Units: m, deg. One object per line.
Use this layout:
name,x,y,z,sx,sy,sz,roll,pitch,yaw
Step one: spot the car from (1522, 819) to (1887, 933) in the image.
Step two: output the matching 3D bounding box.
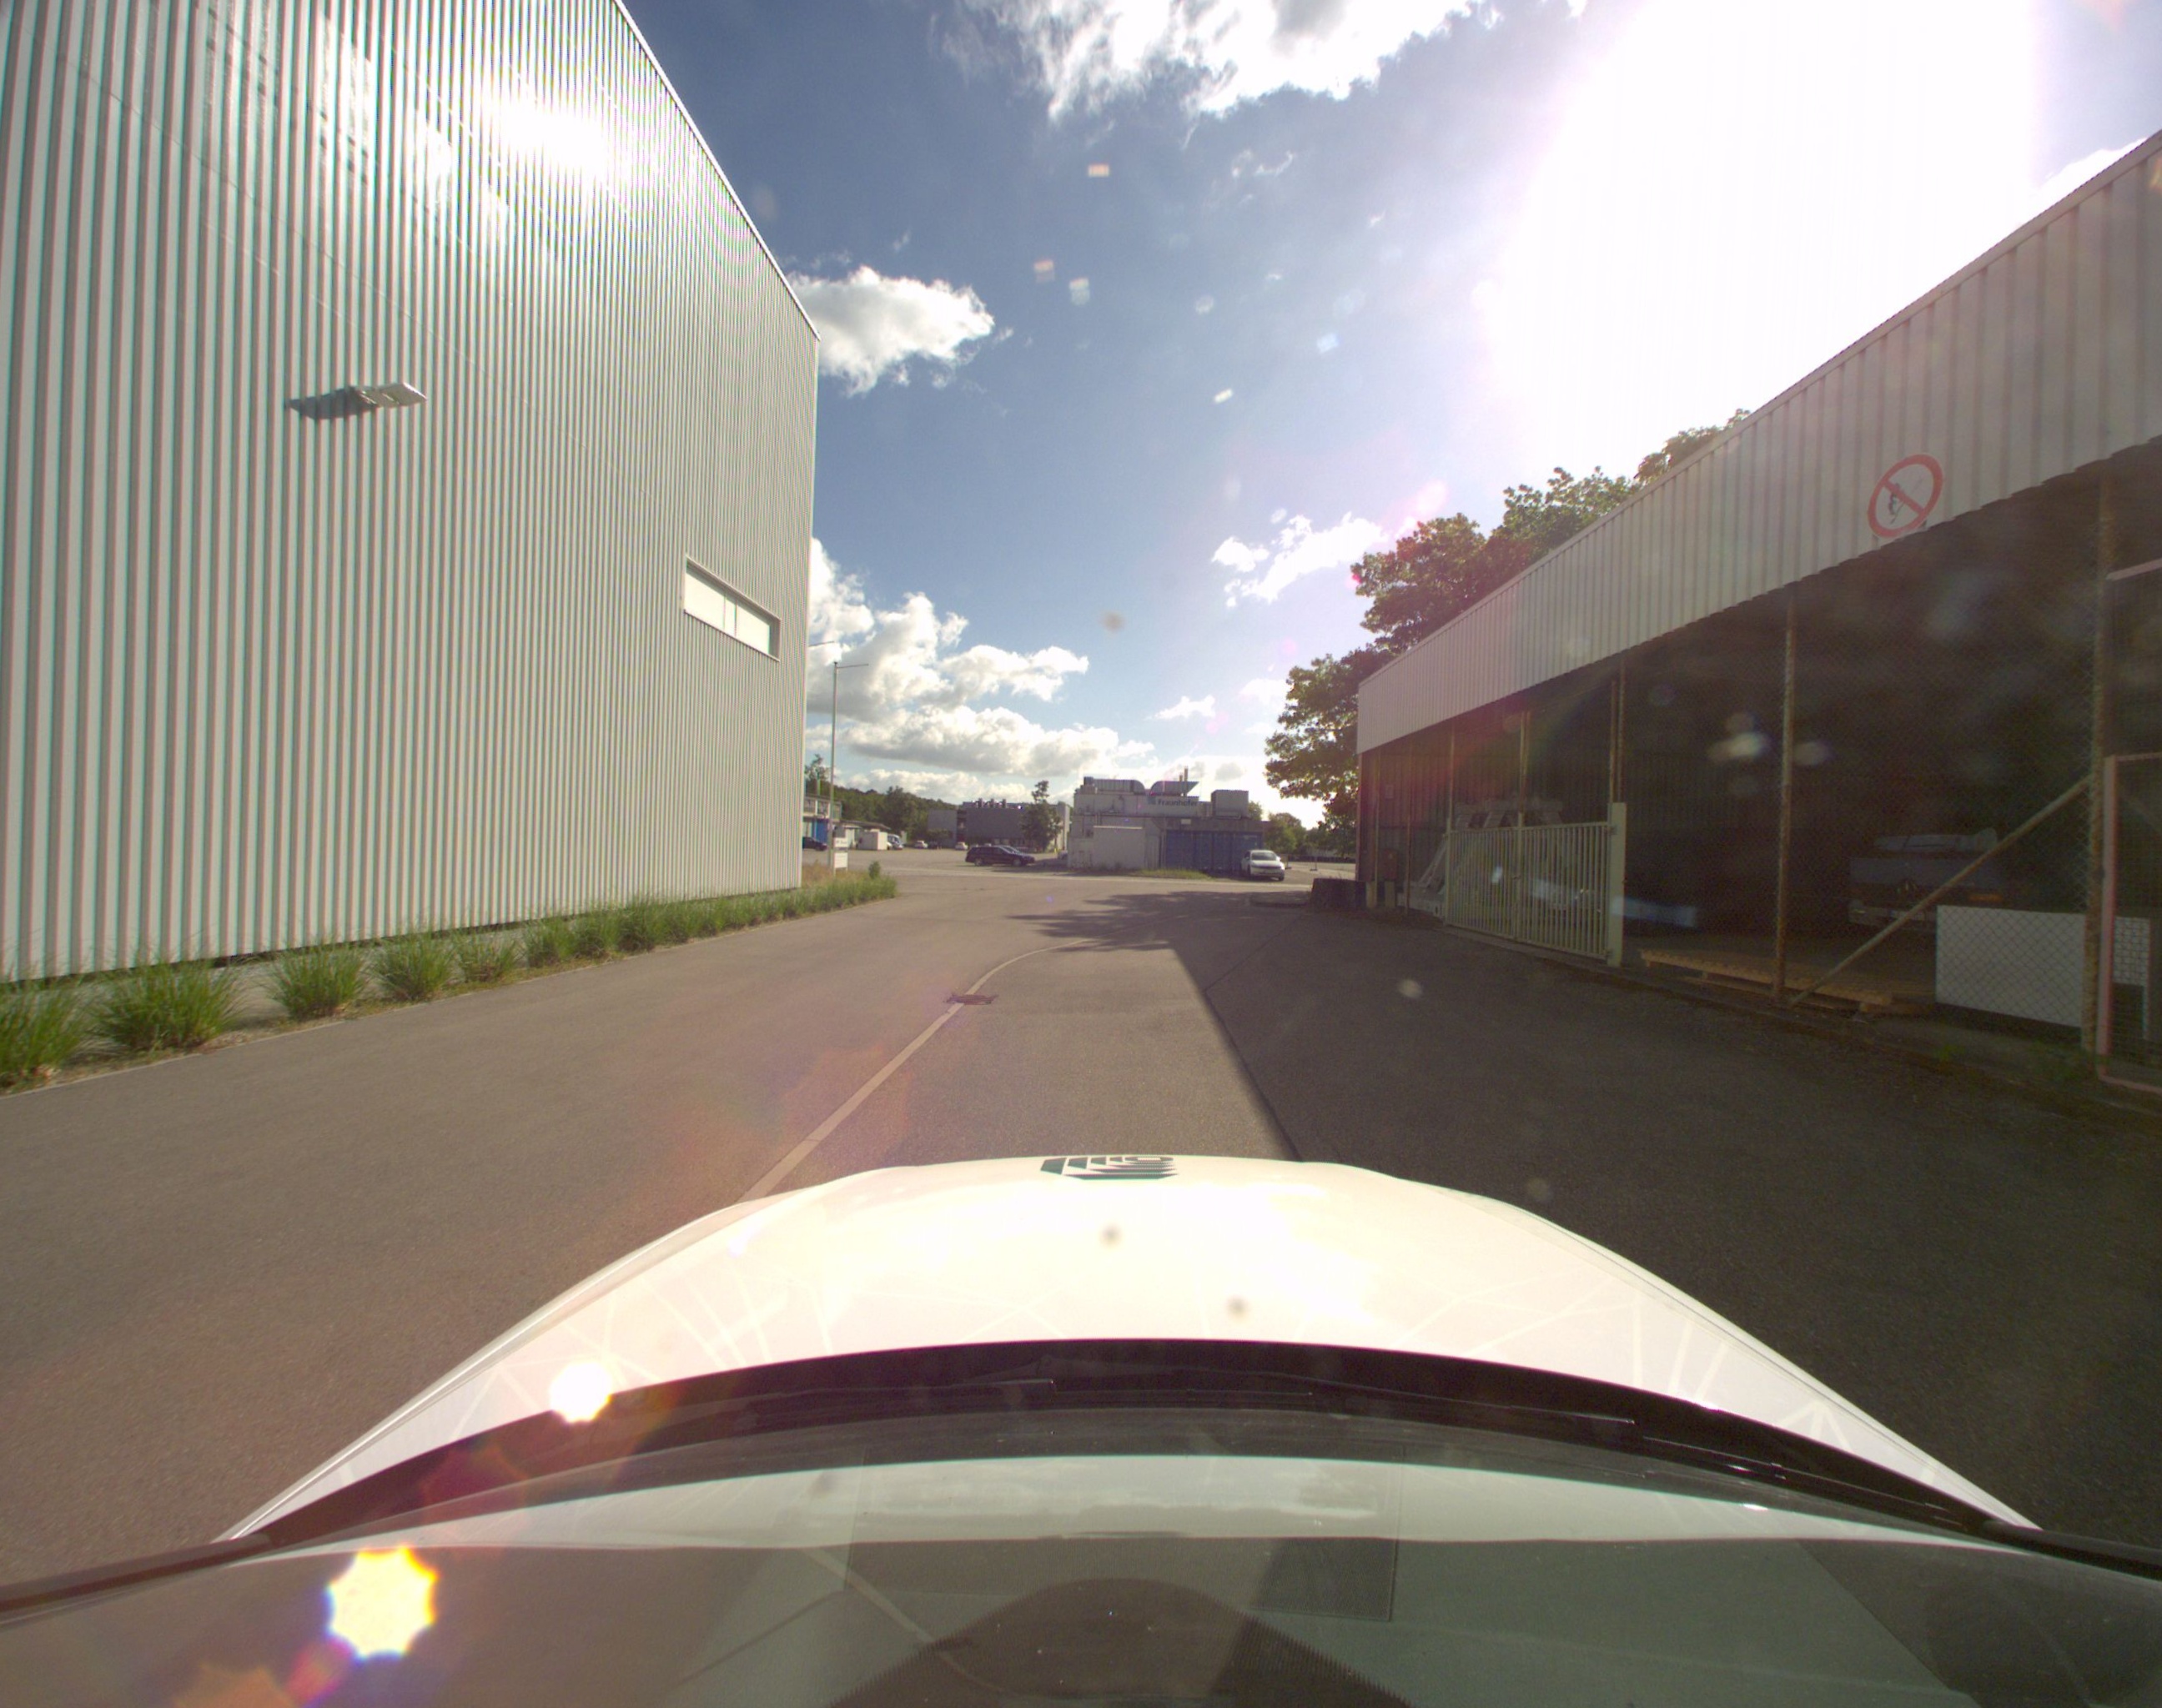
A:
car,11.089,0.375,14.734,5.225,1.876,1.998,1,0,-3

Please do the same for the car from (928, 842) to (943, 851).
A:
car,-27.921,-1.444,155.916,1.986,1.736,4.002,0,0,2

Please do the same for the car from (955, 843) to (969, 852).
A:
car,-22.884,-1.269,156.244,1.986,1.736,4.002,0,0,2

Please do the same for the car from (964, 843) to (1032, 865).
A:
car,-5.926,-0.030,58.411,4.505,1.508,1.911,1,0,4

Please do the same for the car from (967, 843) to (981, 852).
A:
car,-20.415,-1.288,155.808,1.986,1.736,4.002,0,0,2

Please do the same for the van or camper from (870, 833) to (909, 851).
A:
van or camper,-31.202,-1.951,132.846,5.695,2.928,2.474,1,0,0

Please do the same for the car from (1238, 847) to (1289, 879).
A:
car,10.026,0.464,45.097,1.986,1.585,4.176,1,2,2

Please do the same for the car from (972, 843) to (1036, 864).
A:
car,-5.802,-0.037,61.648,4.505,1.508,1.911,1,0,4

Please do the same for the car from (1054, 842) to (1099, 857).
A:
car,-0.453,-0.438,85.855,4.507,1.508,1.911,1,0,3

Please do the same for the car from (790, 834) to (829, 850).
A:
car,-32.012,-1.411,96.022,3.978,1.786,1.998,1,0,-3

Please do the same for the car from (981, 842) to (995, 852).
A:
car,-17.824,-1.340,156.063,2.185,1.736,4.002,0,0,2

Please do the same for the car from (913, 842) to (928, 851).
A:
car,-30.713,-1.422,156.066,1.986,1.736,4.002,0,0,2

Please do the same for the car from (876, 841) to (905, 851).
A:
car,-30.312,-1.260,129.555,3.973,1.610,2.000,1,0,1
